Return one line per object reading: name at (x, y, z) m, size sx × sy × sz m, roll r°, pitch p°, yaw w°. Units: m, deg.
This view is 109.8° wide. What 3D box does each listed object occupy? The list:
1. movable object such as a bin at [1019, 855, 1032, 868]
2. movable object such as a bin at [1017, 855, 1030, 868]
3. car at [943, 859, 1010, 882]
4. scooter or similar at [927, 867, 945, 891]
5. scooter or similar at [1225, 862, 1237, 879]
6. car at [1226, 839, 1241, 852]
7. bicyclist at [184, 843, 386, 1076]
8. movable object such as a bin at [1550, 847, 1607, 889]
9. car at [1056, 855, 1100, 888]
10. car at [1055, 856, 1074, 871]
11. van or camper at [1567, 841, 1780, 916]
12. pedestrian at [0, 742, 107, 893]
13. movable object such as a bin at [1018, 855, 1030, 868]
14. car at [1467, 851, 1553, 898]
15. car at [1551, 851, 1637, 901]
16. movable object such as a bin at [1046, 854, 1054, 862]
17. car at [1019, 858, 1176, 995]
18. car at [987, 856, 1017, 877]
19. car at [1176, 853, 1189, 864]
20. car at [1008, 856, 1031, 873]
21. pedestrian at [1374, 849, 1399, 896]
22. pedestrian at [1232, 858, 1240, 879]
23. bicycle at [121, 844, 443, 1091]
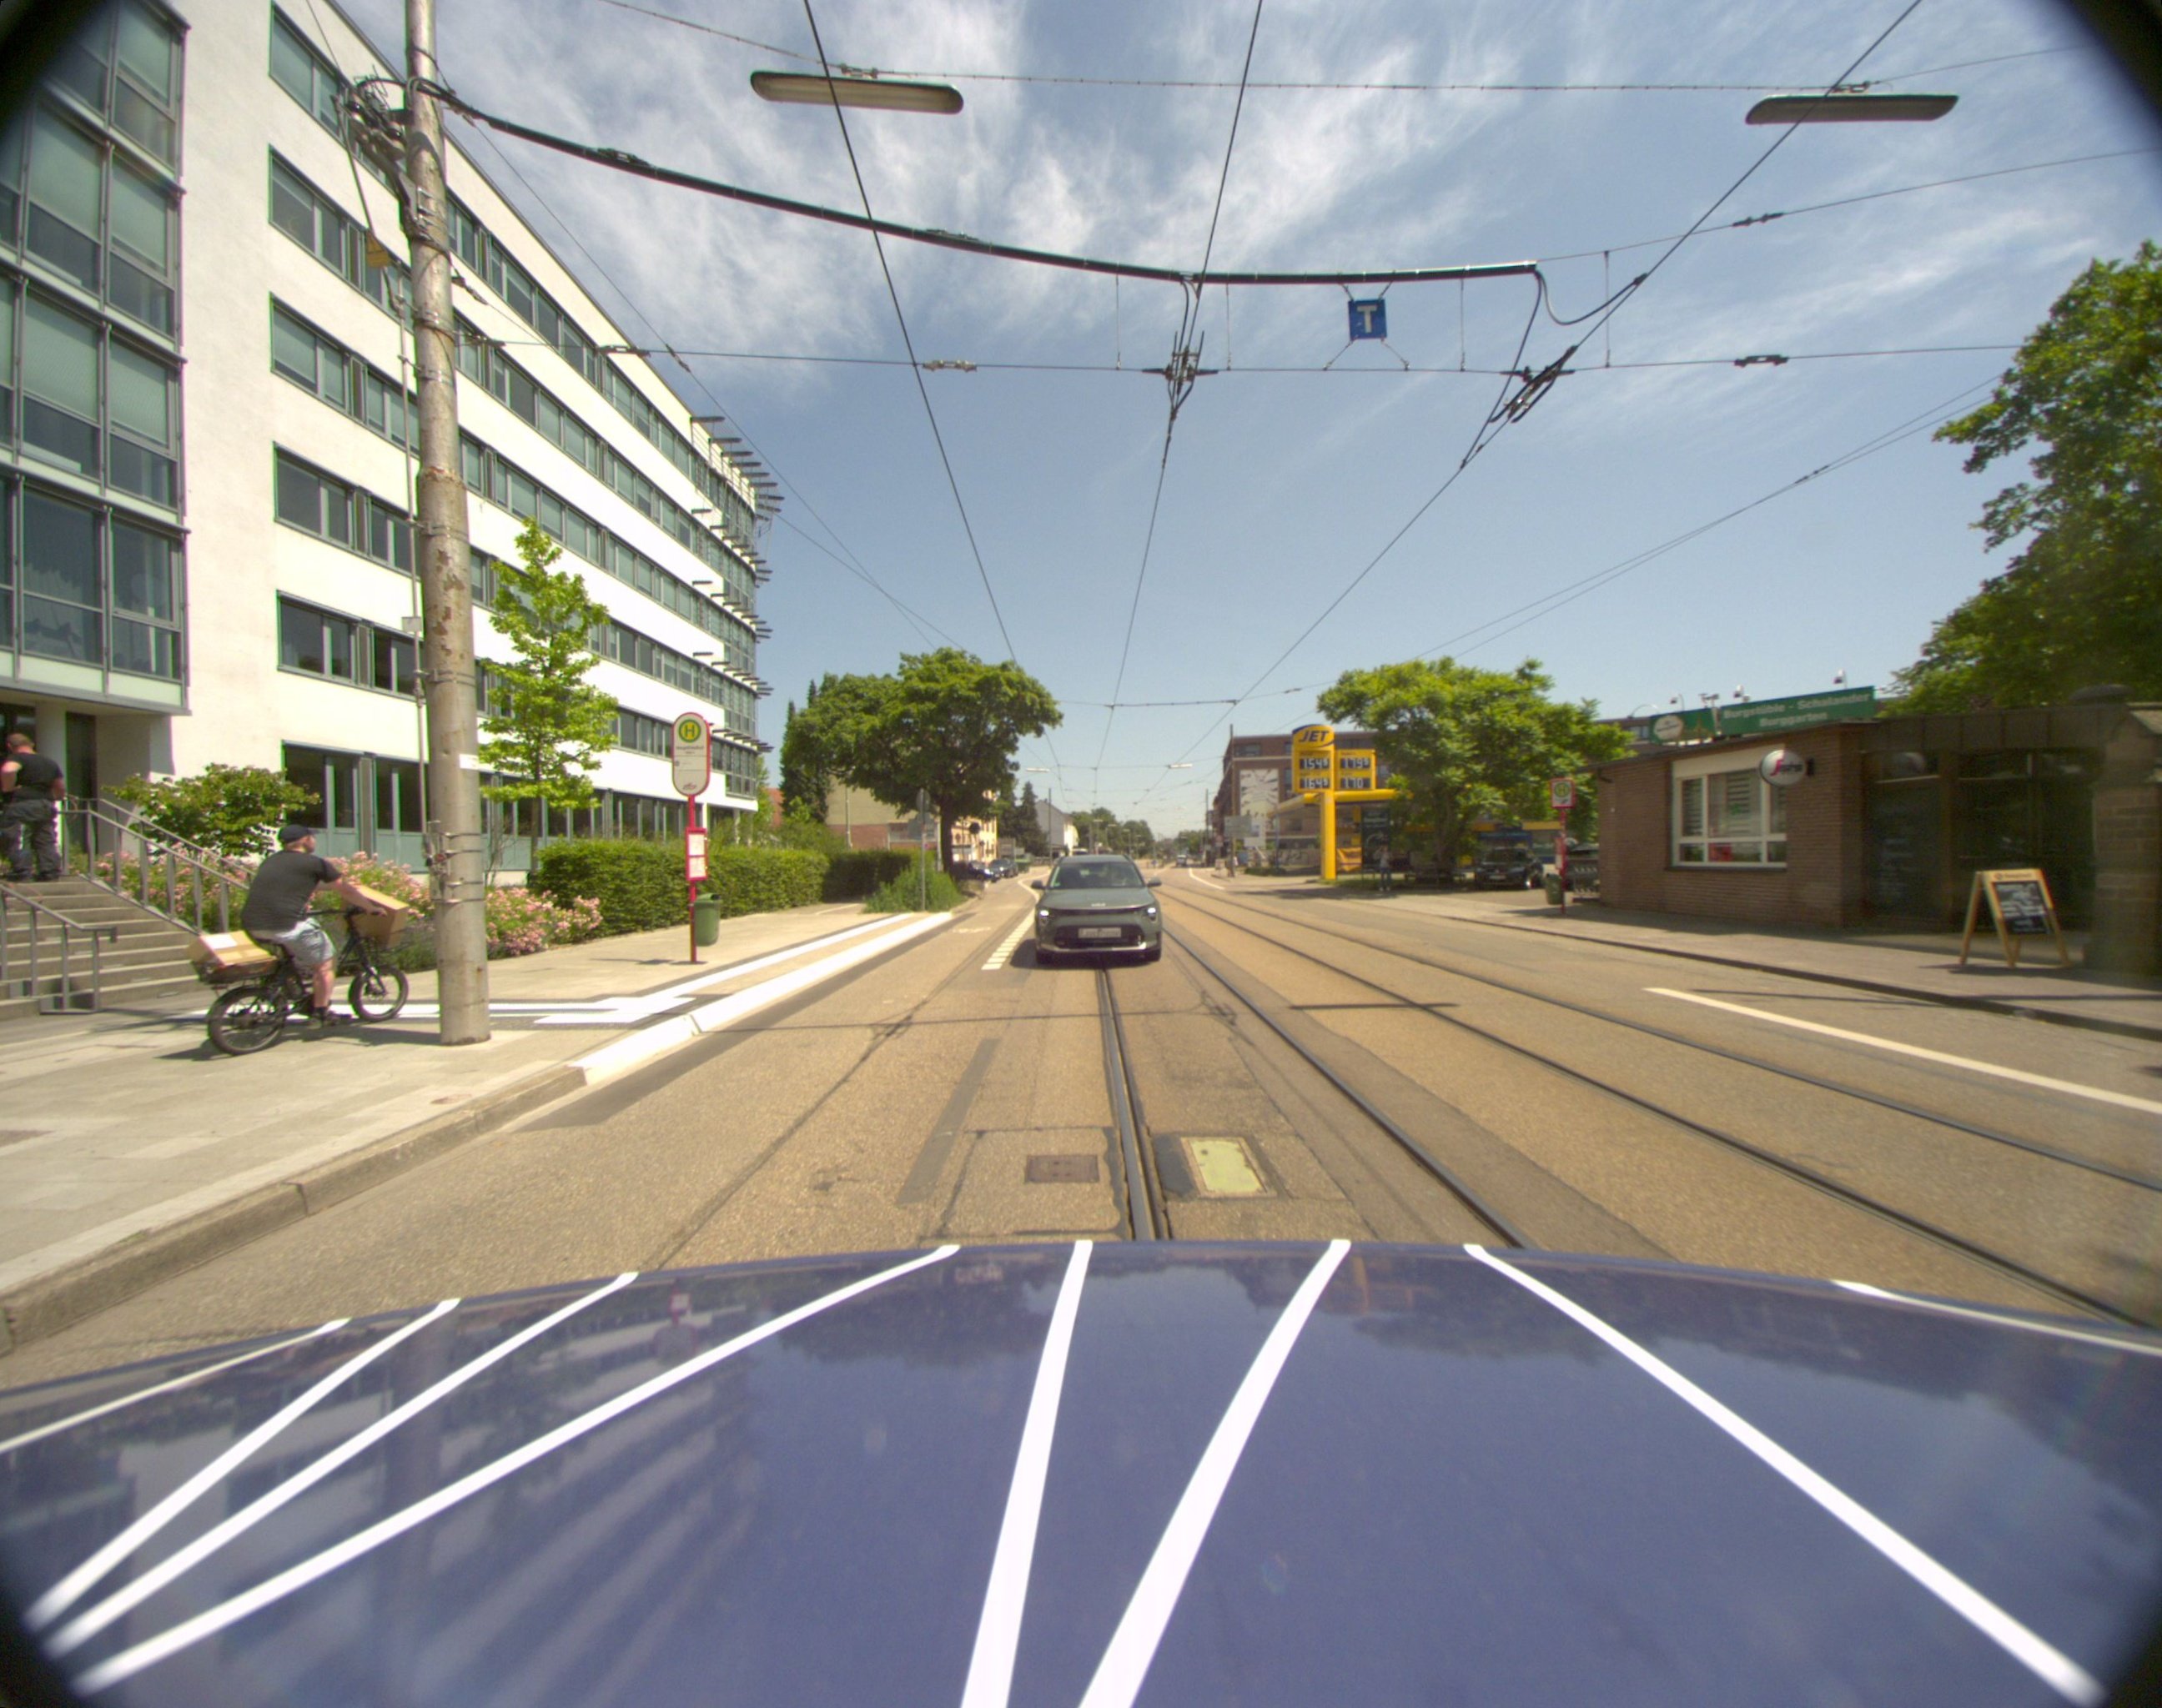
movable object such as a bin at (-6.054, 0.813, 83.442) m, size 1.396 × 1.446 × 1.139 m, roll 1°, pitch 0°, yaw -3°
movable object such as a bin at (-6.194, 0.796, 81.246) m, size 1.327 × 1.446 × 1.057 m, roll 1°, pitch 0°, yaw -3°
car at (-6.721, 1.051, 48.851) m, size 3.917 × 1.364 × 1.706 m, roll -1°, pitch 1°, yaw 25°
scooter or similar at (-7.500, 1.286, 39.355) m, size 0.326 × 1.215 × 1.153 m, roll -2°, pitch 0°, yaw 22°
scooter or similar at (10.861, 1.165, 54.947) m, size 0.520 × 1.193 × 1.376 m, roll -2°, pitch 0°, yaw -2°
car at (18.645, -1.008, 92.735) m, size 1.734 × 1.460 × 4.004 m, roll -2°, pitch 0°, yaw 12°
bicyclist at (-6.517, 0.805, 6.276) m, size 0.698 × 1.789 × 0.888 m, roll 0°, pitch 1°, yaw 3°
movable object such as a bin at (19.214, 0.529, 29.435) m, size 1.522 × 1.500 × 2.103 m, roll -2°, pitch 0°, yaw 25°
car at (-0.104, 0.860, 39.695) m, size 1.748 × 1.546 × 4.489 m, roll -3°, pitch 0°, yaw 6°
car at (-1.743, 0.999, 83.234) m, size 1.748 × 1.546 × 4.488 m, roll -3°, pitch 0°, yaw 3°
van or camper at (14.672, 0.600, 18.991) m, size 3.793 × 1.619 × 1.871 m, roll -2°, pitch -1°, yaw 0°
pedestrian at (-12.491, -0.417, 8.970) m, size 0.874 × 1.705 × 1.092 m, roll 1°, pitch 1°, yaw 31°
movable object such as a bin at (-6.205, 0.812, 82.327) m, size 1.250 × 1.446 × 1.057 m, roll 1°, pitch 0°, yaw -3°
car at (15.841, 0.708, 27.939) m, size 1.930 × 1.480 × 4.460 m, roll -2°, pitch 0°, yaw 40°
car at (17.763, 0.717, 26.212) m, size 1.930 × 1.480 × 4.460 m, roll -2°, pitch 0°, yaw 40°
movable object such as a bin at (-6.304, 0.799, 153.008) m, size 1.389 × 1.472 × 1.152 m, roll -1°, pitch 0°, yaw 9°
car at (0.159, 0.886, 11.363) m, size 1.827 × 1.546 × 4.486 m, roll -2°, pitch 0°, yaw -1°
car at (-6.786, 1.028, 65.933) m, size 1.929 × 1.683 × 5.082 m, roll 1°, pitch 0°, yaw 1°
car at (17.718, 0.739, 132.325) m, size 1.997 × 1.789 × 4.555 m, roll -2°, pitch 1°, yaw 8°
car at (-5.856, 1.007, 72.717) m, size 1.777 × 1.539 × 4.467 m, roll 1°, pitch 1°, yaw 1°
pedestrian at (11.650, 0.704, 29.030) m, size 0.581 × 1.765 × 0.699 m, roll -2°, pitch 0°, yaw -3°
pedestrian at (12.995, 1.202, 63.607) m, size 0.626 × 1.681 × 0.723 m, roll -1°, pitch 0°, yaw 13°
bicycle at (-6.504, 0.804, 6.366) m, size 0.691 × 1.775 × 1.811 m, roll 0°, pitch 1°, yaw 3°
